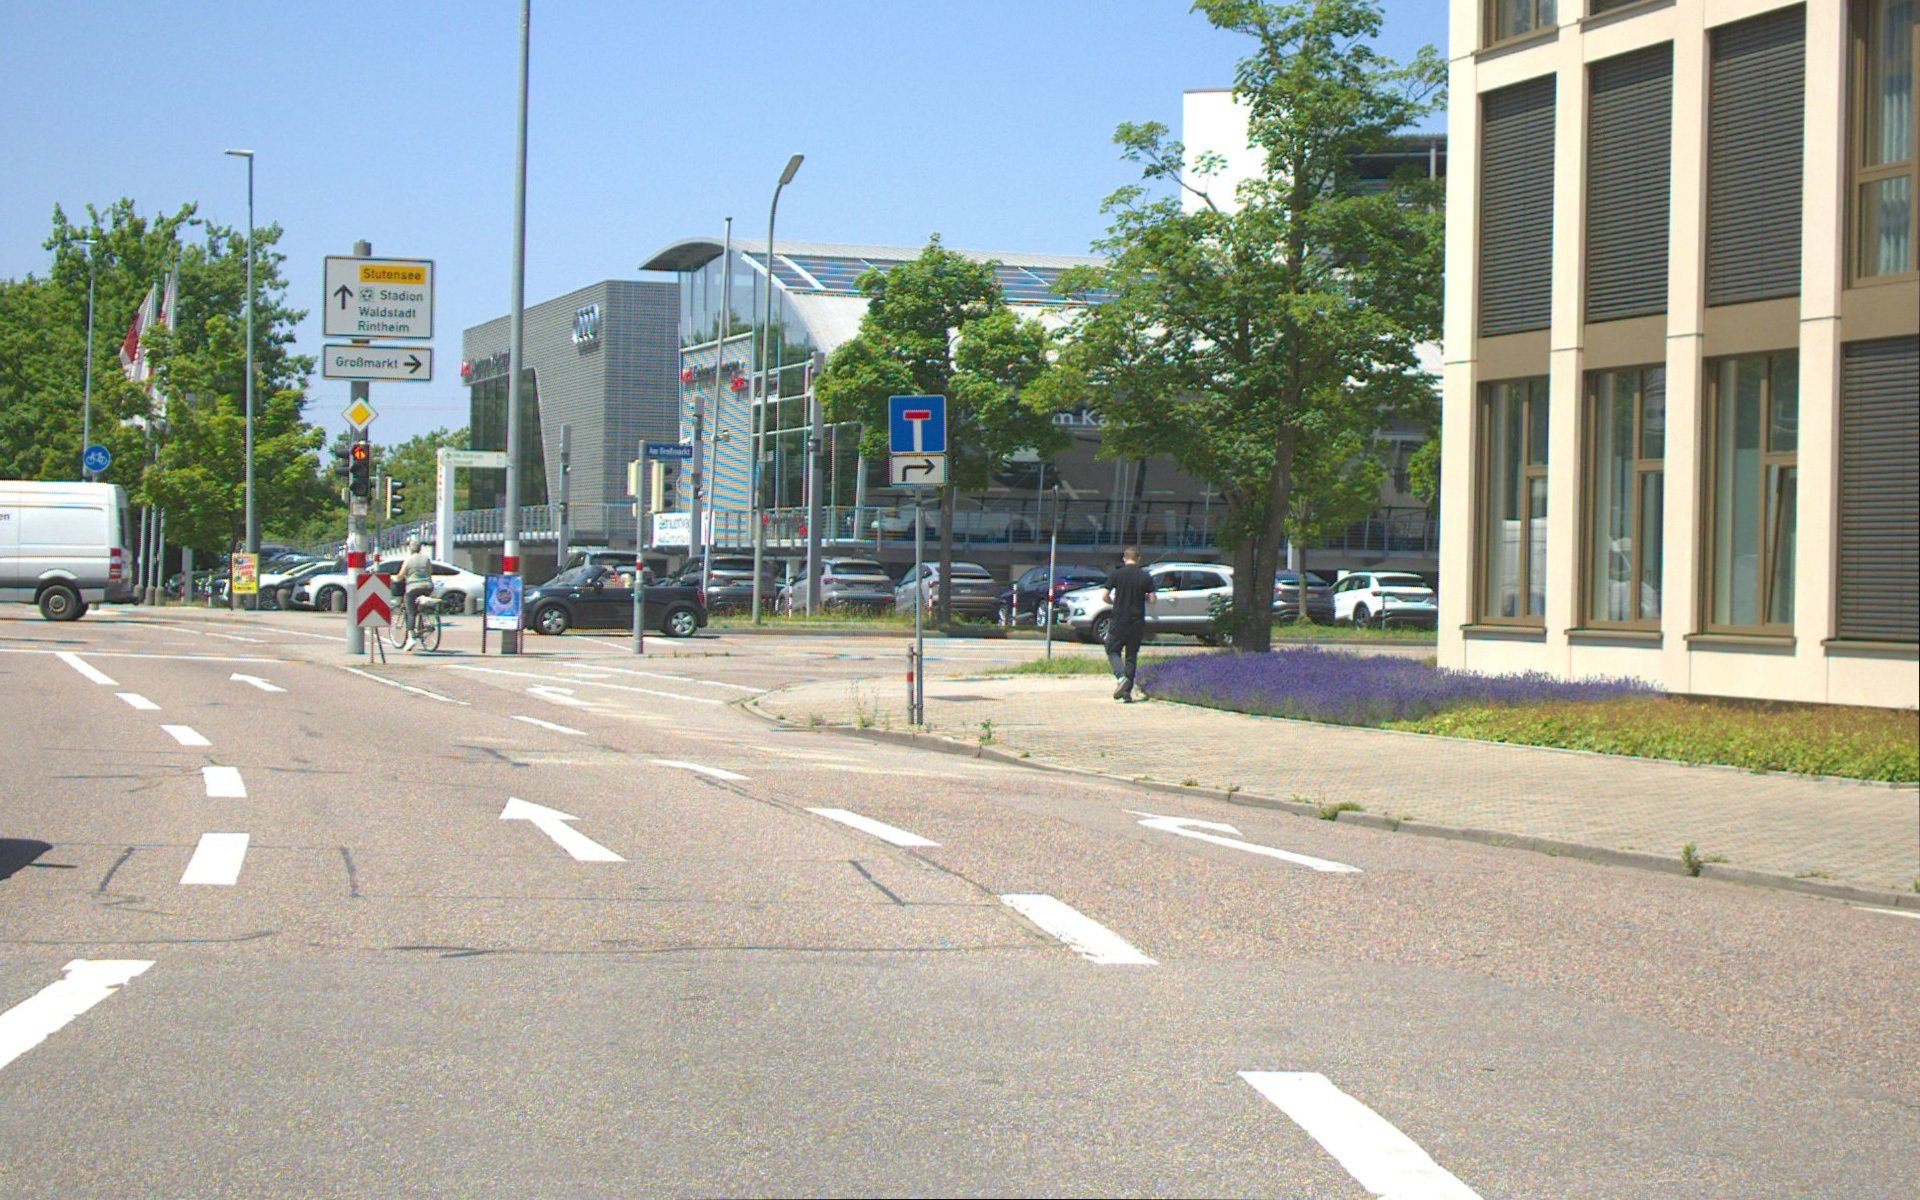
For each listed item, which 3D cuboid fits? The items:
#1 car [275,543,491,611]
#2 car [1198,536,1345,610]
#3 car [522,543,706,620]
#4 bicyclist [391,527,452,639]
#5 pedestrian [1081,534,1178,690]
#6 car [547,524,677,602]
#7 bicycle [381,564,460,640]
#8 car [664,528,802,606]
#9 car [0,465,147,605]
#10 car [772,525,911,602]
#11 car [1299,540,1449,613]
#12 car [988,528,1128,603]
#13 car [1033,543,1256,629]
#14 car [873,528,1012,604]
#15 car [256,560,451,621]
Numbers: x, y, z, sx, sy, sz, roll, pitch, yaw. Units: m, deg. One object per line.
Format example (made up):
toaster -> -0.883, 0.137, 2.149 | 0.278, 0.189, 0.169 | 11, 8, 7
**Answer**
car -> -13.456, -0.543, 80.150 | 4.740, 1.452, 2.001 | 1, 1, -16
car -> 7.401, -0.666, 82.199 | 1.827, 1.634, 4.476 | 1, 2, -18
car -> -6.734, -0.363, 66.759 | 3.366, 1.353, 1.624 | 2, 1, -11
bicyclist -> -8.585, -0.276, 54.829 | 0.733, 1.743, 0.754 | 2, 1, -23
pedestrian -> 2.028, 0.133, 41.107 | 0.773, 1.838, 0.866 | 1, 1, 45
car -> -7.866, -0.849, 77.454 | 1.993, 1.634, 4.270 | 1, 1, -19
bicycle -> -8.644, 0.025, 55.036 | 0.786, 1.123, 1.921 | 2, 1, -22
car -> -5.203, -0.772, 78.227 | 1.993, 1.634, 4.559 | 1, 2, -18
car -> -18.542, -1.290, 65.905 | 5.489, 2.558, 2.000 | 2, 0, -7
car -> -2.762, -0.862, 79.044 | 1.993, 1.634, 4.443 | 1, 2, -18
car -> 9.977, -0.597, 83.189 | 1.827, 1.634, 4.476 | 1, 2, -18
car -> 2.264, -0.833, 80.749 | 1.827, 1.634, 4.476 | 1, 2, -18
car -> 3.697, -0.285, 69.208 | 4.194, 1.646, 1.715 | 1, 1, -8
car -> -0.438, -0.812, 79.696 | 1.885, 1.634, 4.526 | 1, 2, -18
car -> -15.946, -0.255, 90.374 | 4.740, 1.452, 2.001 | 1, 1, -20
